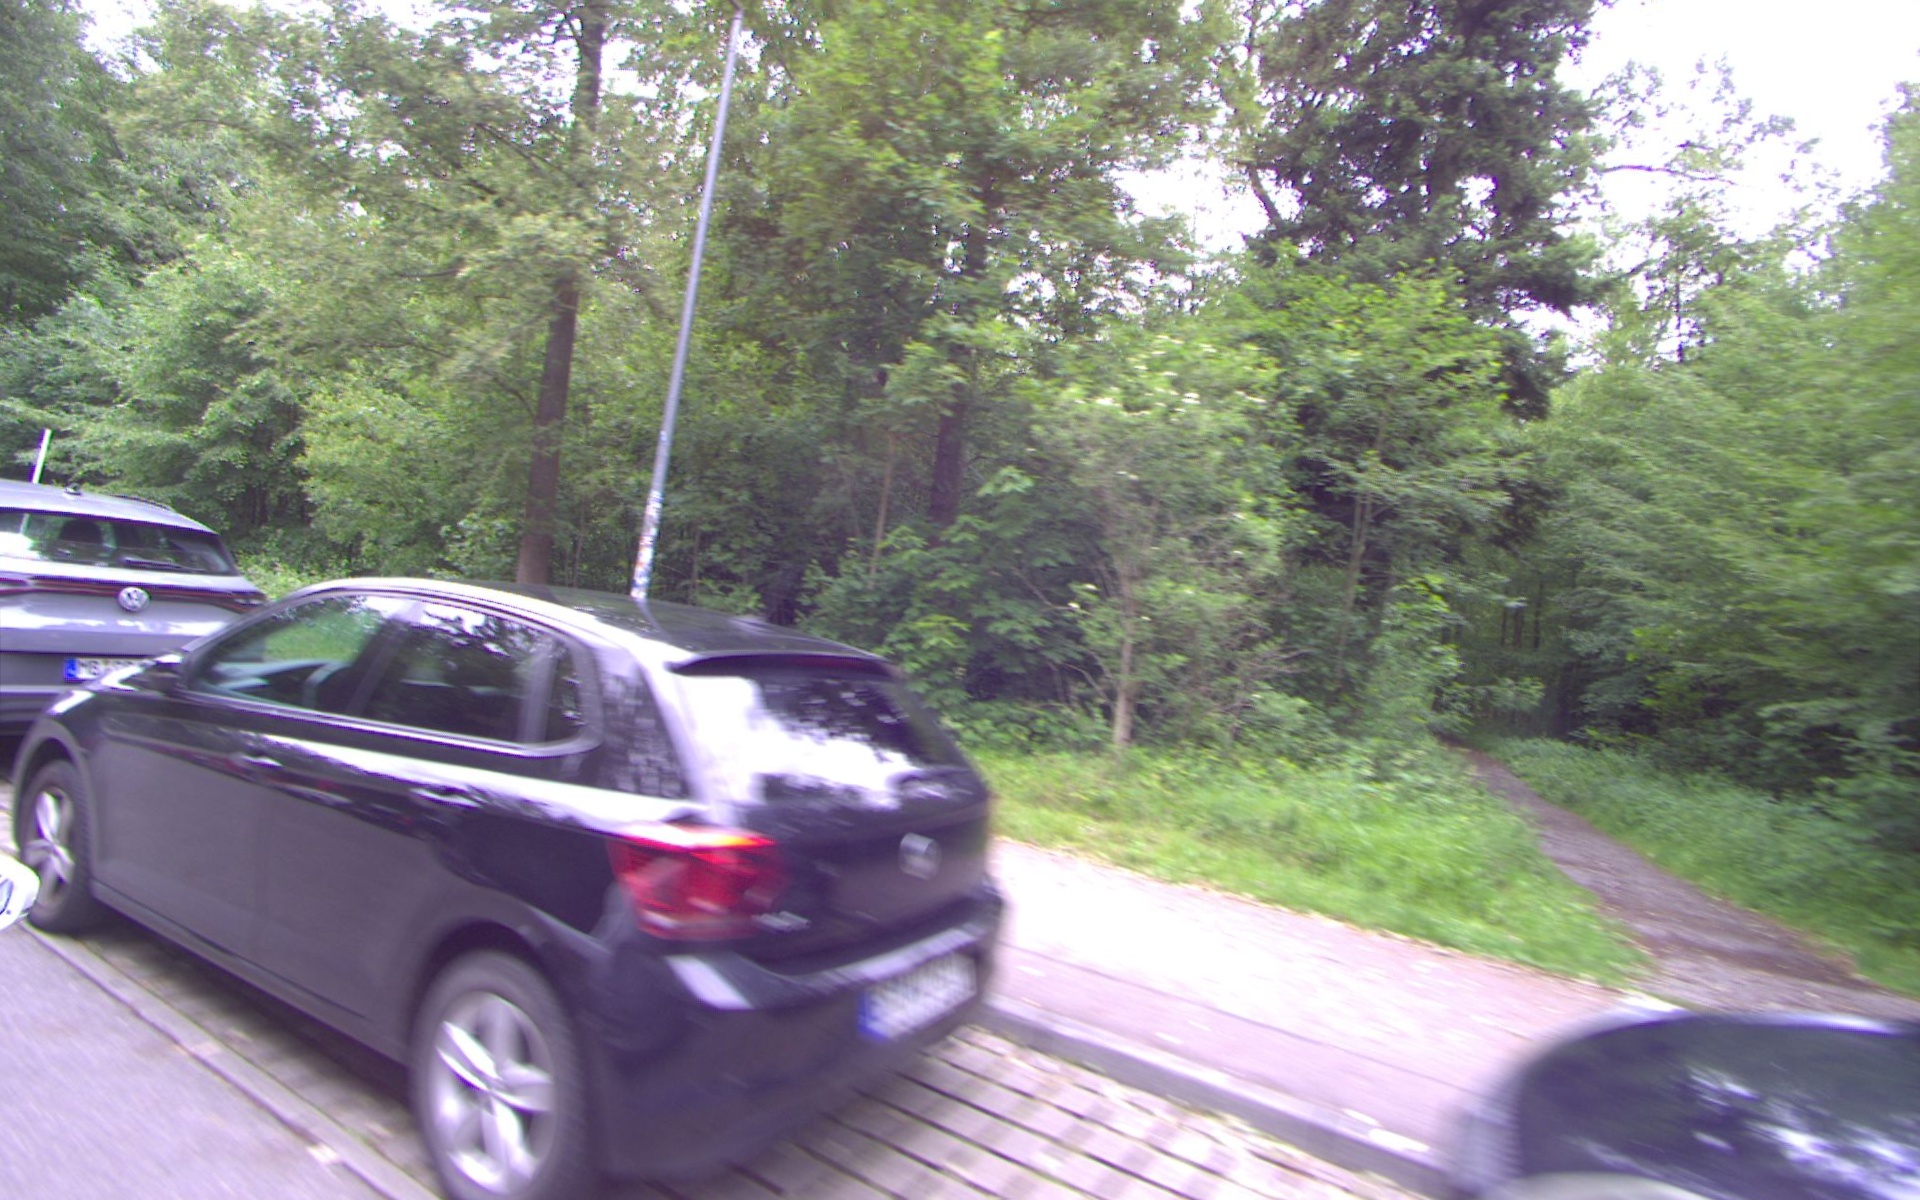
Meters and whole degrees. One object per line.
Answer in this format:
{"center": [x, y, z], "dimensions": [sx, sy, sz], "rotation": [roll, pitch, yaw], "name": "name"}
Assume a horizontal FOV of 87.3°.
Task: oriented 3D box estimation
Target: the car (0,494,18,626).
{"center": [-11.144, -0.504, 9.469], "dimensions": [4.094, 1.555, 1.984], "rotation": [7, -2, 28], "name": "car"}

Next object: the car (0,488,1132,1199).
{"center": [-1.685, 0.592, 3.563], "dimensions": [4.080, 1.495, 1.641], "rotation": [7, -1, 29], "name": "car"}

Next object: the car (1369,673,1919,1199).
{"center": [2.720, 1.148, 1.141], "dimensions": [4.022, 1.521, 1.602], "rotation": [7, -1, 31], "name": "car"}

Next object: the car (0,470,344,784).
{"center": [-6.405, -0.034, 6.630], "dimensions": [4.543, 1.555, 1.982], "rotation": [7, -2, 31], "name": "car"}
